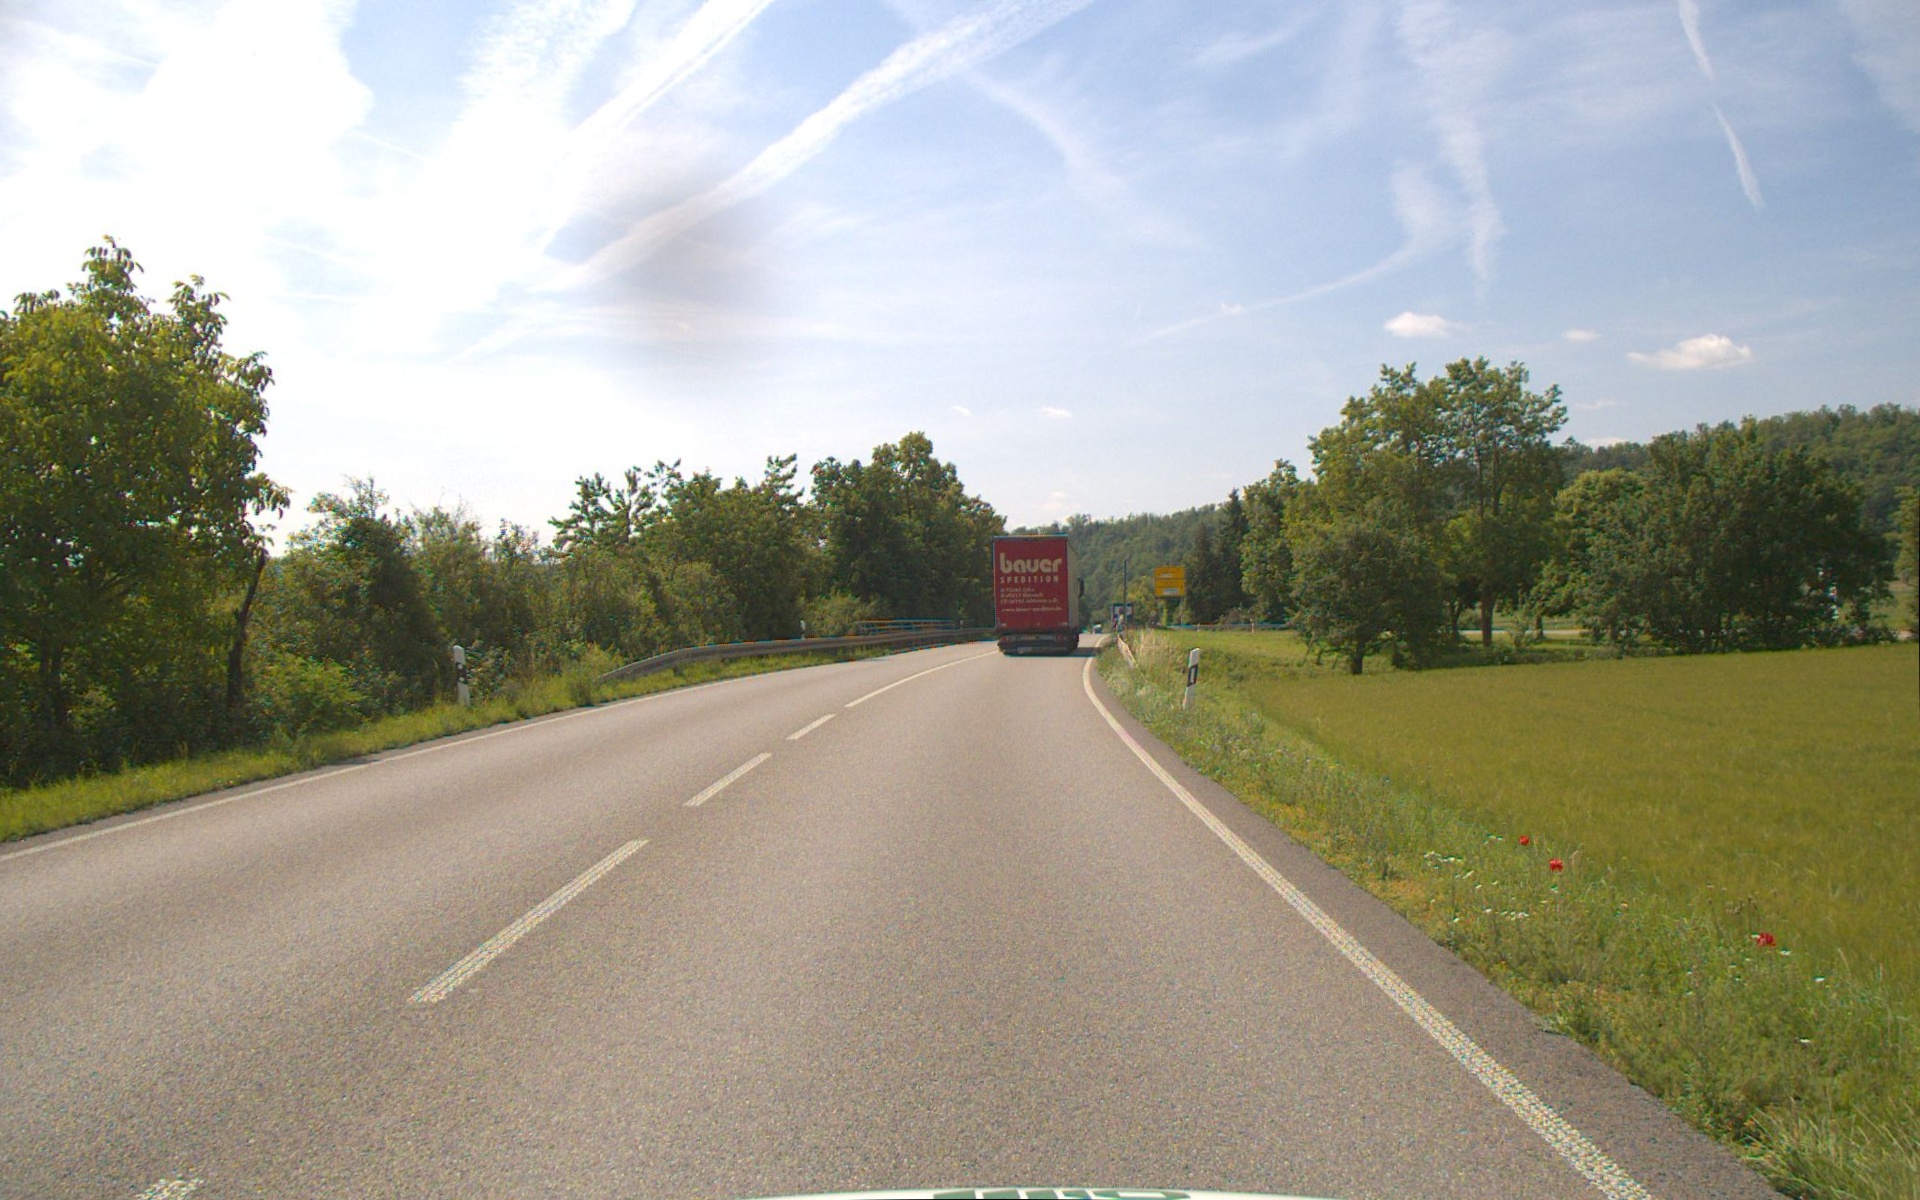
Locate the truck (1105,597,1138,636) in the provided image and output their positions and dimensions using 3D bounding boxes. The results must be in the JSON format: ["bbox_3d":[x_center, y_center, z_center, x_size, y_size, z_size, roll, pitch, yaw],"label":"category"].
[{"bbox_3d":[20.223,2.106,206.188,3.822,4.447,13.299,1,-2,7],"label":"truck"}]

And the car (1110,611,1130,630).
[{"bbox_3d":[16.997,2.187,175.498,1.951,1.842,4.002,2,-2,7],"label":"car"}]

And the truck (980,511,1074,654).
[{"bbox_3d":[2.660,-0.512,61.586,3.106,4.706,13.549,0,-1,4],"label":"truck"}]
